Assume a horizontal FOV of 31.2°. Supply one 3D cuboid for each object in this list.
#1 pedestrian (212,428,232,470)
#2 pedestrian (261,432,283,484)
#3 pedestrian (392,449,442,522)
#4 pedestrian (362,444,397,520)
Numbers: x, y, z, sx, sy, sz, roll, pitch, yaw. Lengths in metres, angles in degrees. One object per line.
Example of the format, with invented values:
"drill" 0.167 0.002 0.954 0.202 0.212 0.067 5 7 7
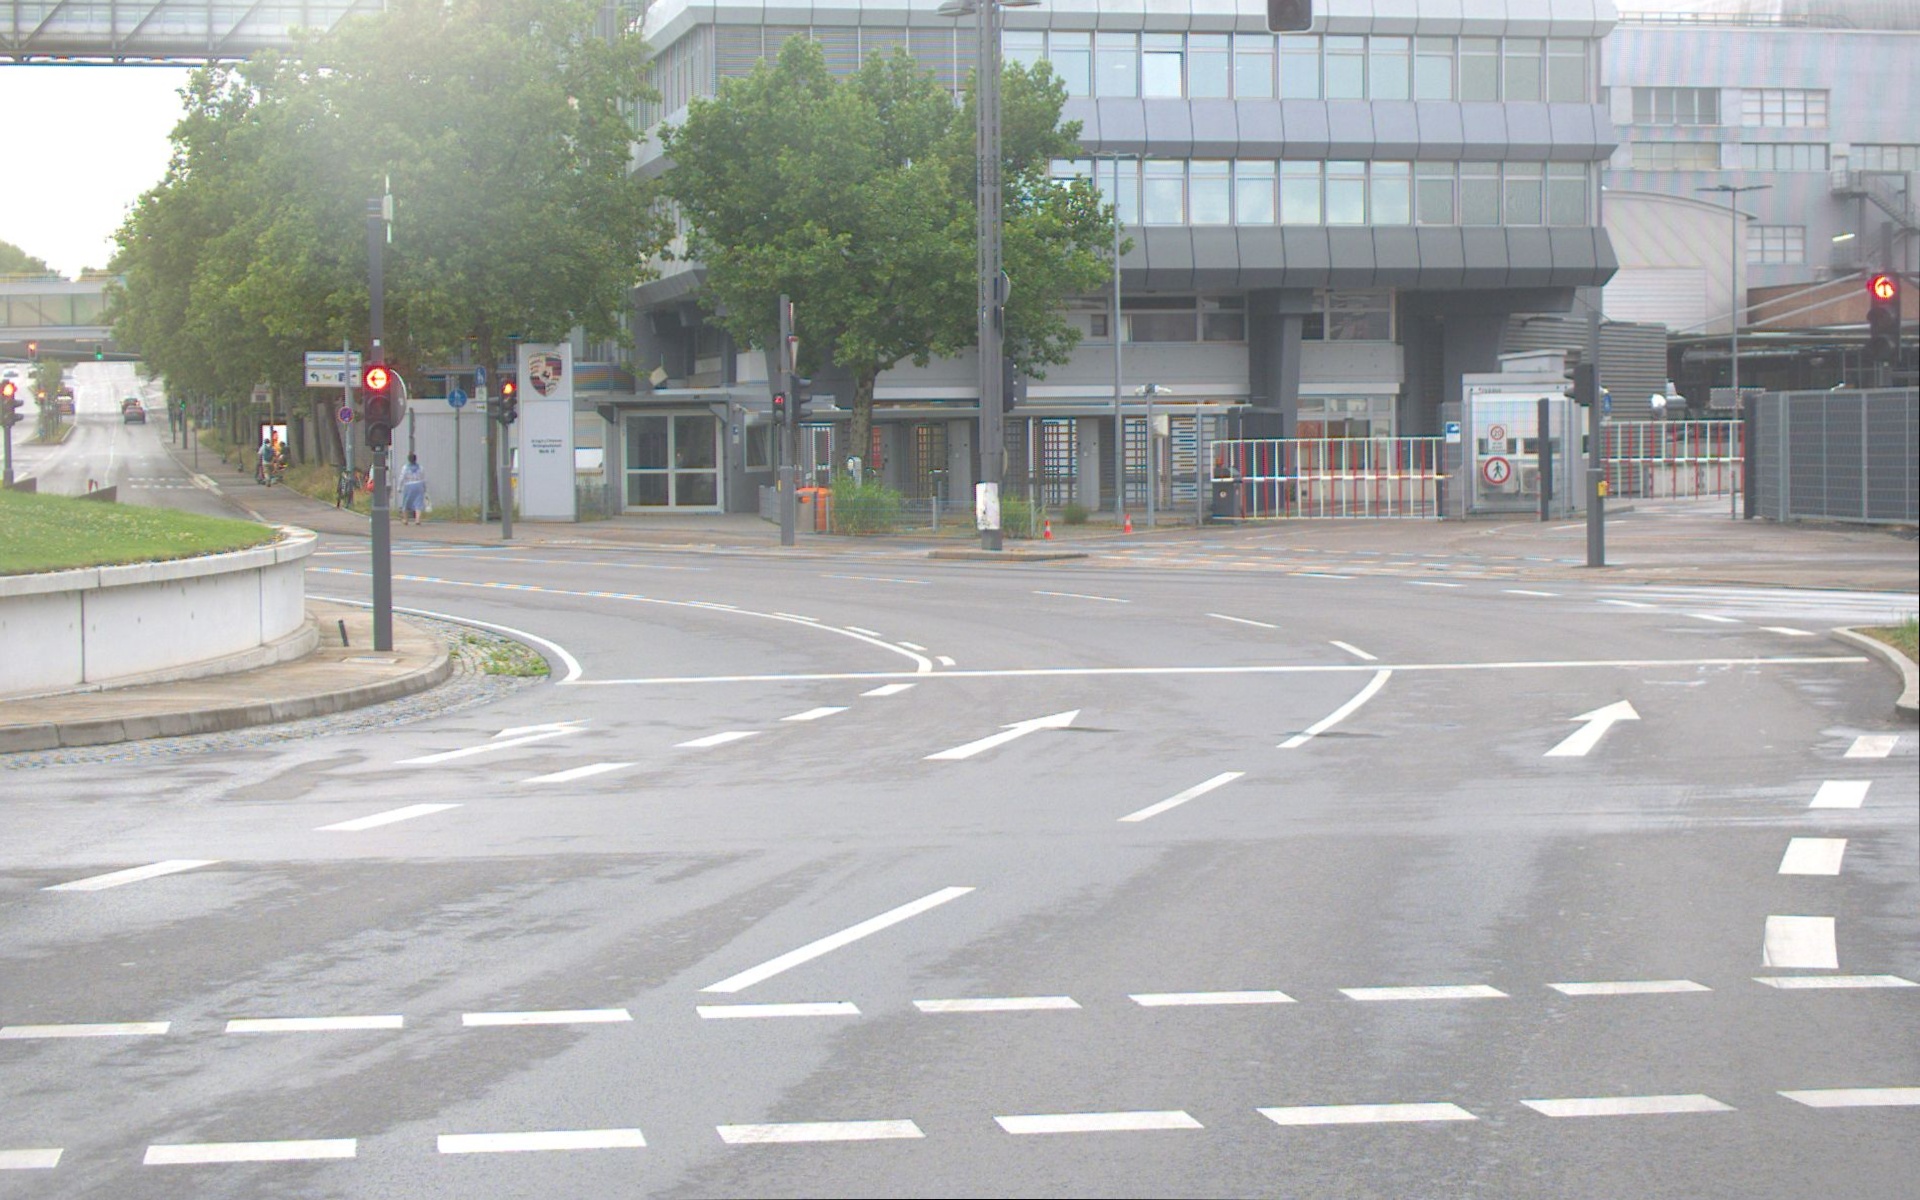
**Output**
"pedestrian" -35.635 -7.283 165.983 0.765 2.006 0.692 0 2 3
"pedestrian" -23.578 -4.855 117.784 0.711 1.734 0.760 1 0 -14
"pedestrian" -11.516 -2.429 72.929 0.831 1.515 0.842 -2 3 -25
"pedestrian" -12.439 -2.531 73.644 0.709 1.586 0.841 -1 3 -9
